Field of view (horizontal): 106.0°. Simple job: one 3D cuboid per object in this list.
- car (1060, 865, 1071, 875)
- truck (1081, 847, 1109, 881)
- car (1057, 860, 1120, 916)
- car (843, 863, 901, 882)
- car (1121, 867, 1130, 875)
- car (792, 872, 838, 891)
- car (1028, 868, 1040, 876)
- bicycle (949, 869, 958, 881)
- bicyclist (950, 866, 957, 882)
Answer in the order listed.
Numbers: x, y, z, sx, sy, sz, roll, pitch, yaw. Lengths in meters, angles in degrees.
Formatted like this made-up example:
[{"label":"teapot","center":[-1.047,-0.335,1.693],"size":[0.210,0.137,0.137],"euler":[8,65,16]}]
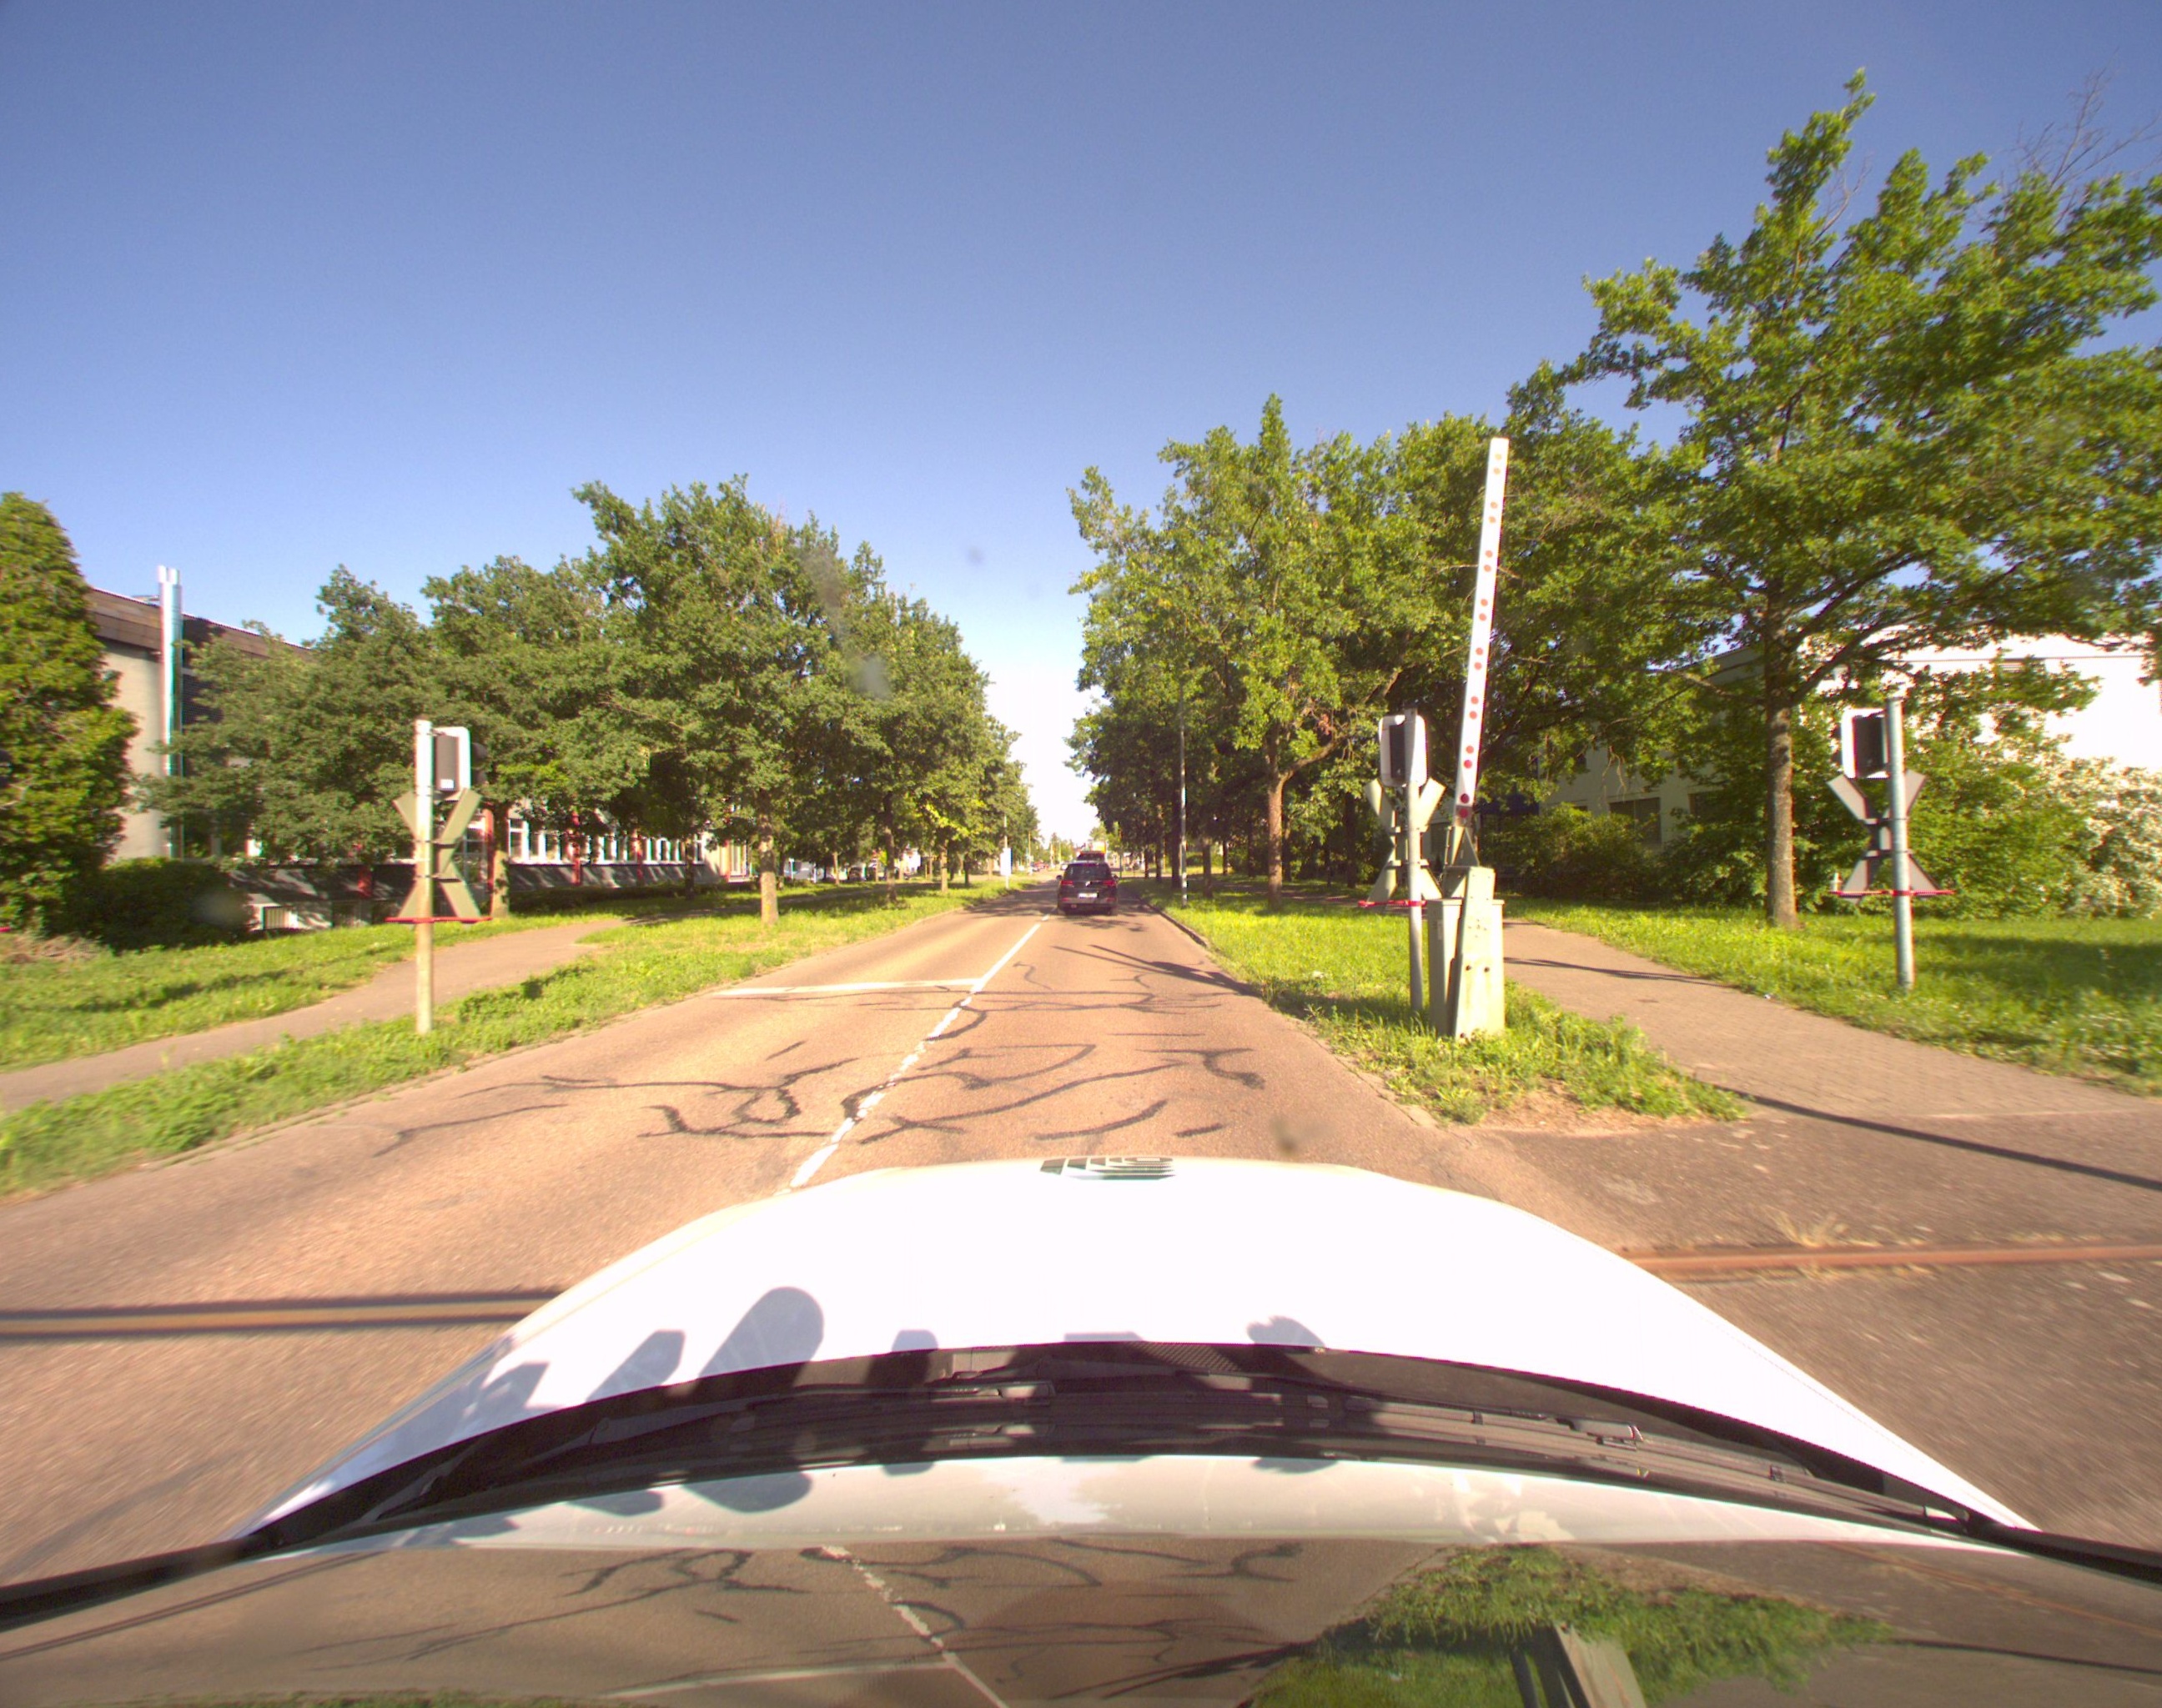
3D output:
[{"label":"car","center":[-3.229,3.250,168.230],"size":[1.990,2.014,3.994],"euler":[0,-1,-4]},{"label":"truck","center":[1.516,1.022,83.224],"size":[2.501,3.244,8.158],"euler":[-1,-1,3]},{"label":"car","center":[0.324,1.017,25.638],"size":[1.774,1.634,4.003],"euler":[0,-1,3]},{"label":"car","center":[-22.365,2.012,87.329],"size":[5.788,2.014,1.994],"euler":[0,-1,-9]},{"label":"car","center":[8.164,3.126,149.437],"size":[1.446,1.406,2.857],"euler":[0,-1,2]},{"label":"car","center":[-24.155,2.507,74.036],"size":[3.341,1.643,2.003],"euler":[0,-1,6]},{"label":"car","center":[-9.123,3.497,159.136],"size":[1.987,1.455,4.000],"euler":[-1,-1,0]},{"label":"bicycle","center":[-14.431,2.362,92.196],"size":[0.714,1.321,1.991],"euler":[0,-1,1]},{"label":"bicyclist","center":[-14.443,2.244,92.116],"size":[0.684,1.831,0.934],"euler":[0,-1,0]}]
